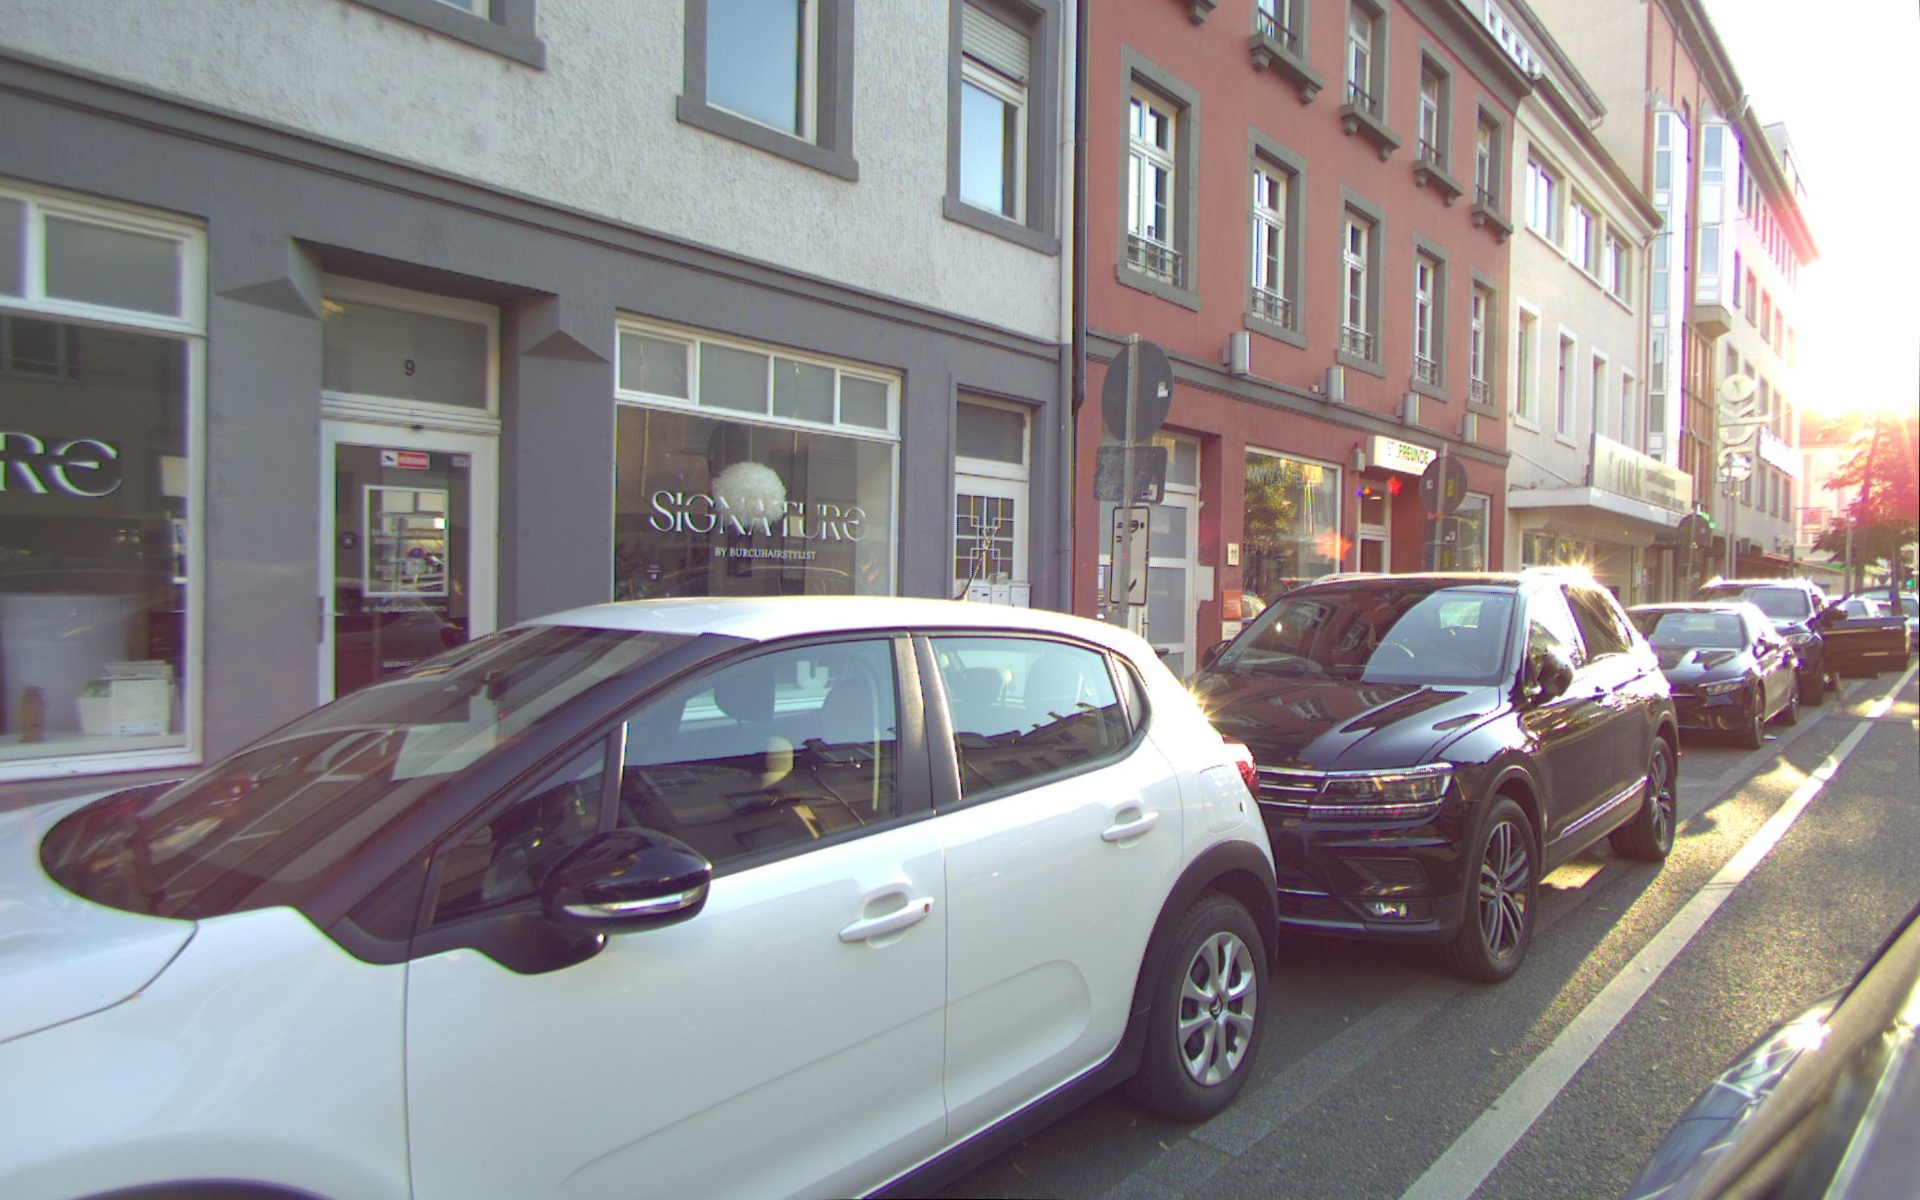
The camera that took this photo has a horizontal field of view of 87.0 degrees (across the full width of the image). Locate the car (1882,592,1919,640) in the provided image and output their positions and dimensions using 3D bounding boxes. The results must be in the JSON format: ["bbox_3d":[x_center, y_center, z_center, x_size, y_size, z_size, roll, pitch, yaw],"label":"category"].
[{"bbox_3d":[33.057,0.527,34.768,3.722,1.521,1.692,-1,2,-42],"label":"car"}]

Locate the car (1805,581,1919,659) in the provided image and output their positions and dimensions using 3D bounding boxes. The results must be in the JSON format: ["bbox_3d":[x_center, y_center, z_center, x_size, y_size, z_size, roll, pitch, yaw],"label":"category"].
[{"bbox_3d":[21.932,0.413,24.367,4.407,1.675,1.995,-1,2,-44],"label":"car"}]

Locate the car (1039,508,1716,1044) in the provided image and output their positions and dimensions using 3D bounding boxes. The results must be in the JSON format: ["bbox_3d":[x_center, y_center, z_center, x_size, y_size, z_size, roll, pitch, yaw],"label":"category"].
[{"bbox_3d":[2.544,0.549,5.446,4.387,1.720,1.795,-1,0,-44],"label":"car"}]

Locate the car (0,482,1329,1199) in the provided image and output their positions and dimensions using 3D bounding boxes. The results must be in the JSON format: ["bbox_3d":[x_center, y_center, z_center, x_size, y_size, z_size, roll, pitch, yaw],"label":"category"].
[{"bbox_3d":[-0.828,0.658,2.437,3.868,1.593,1.663,-1,0,-43],"label":"car"}]

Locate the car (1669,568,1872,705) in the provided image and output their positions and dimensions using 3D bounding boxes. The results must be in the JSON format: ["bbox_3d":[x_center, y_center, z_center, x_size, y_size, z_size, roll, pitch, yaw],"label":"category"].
[{"bbox_3d":[12.796,0.441,15.828,1.994,1.799,5.234,1,1,44],"label":"car"}]

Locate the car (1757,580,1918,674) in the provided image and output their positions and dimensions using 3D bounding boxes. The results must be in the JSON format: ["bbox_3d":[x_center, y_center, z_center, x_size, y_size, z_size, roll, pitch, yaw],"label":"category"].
[{"bbox_3d":[17.695,0.449,20.332,4.550,1.676,1.996,-1,1,-43],"label":"car"}]

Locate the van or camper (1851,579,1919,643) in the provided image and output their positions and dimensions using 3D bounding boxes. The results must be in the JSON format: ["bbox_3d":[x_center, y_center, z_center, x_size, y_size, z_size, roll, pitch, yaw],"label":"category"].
[{"bbox_3d":[28.676,0.285,31.084,1.786,1.795,4.492,2,2,40],"label":"van or camper"}]

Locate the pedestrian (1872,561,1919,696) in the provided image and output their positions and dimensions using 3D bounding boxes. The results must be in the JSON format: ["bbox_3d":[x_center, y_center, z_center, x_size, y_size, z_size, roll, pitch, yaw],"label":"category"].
[{"bbox_3d":[13.423,0.392,14.491,0.483,1.881,0.532,1,1,39],"label":"pedestrian"}]

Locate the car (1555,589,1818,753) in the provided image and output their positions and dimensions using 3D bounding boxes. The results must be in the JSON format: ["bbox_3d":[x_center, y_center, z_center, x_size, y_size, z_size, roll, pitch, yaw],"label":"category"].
[{"bbox_3d":[8.340,0.648,11.458,4.338,1.507,1.686,-1,-1,-45],"label":"car"}]
